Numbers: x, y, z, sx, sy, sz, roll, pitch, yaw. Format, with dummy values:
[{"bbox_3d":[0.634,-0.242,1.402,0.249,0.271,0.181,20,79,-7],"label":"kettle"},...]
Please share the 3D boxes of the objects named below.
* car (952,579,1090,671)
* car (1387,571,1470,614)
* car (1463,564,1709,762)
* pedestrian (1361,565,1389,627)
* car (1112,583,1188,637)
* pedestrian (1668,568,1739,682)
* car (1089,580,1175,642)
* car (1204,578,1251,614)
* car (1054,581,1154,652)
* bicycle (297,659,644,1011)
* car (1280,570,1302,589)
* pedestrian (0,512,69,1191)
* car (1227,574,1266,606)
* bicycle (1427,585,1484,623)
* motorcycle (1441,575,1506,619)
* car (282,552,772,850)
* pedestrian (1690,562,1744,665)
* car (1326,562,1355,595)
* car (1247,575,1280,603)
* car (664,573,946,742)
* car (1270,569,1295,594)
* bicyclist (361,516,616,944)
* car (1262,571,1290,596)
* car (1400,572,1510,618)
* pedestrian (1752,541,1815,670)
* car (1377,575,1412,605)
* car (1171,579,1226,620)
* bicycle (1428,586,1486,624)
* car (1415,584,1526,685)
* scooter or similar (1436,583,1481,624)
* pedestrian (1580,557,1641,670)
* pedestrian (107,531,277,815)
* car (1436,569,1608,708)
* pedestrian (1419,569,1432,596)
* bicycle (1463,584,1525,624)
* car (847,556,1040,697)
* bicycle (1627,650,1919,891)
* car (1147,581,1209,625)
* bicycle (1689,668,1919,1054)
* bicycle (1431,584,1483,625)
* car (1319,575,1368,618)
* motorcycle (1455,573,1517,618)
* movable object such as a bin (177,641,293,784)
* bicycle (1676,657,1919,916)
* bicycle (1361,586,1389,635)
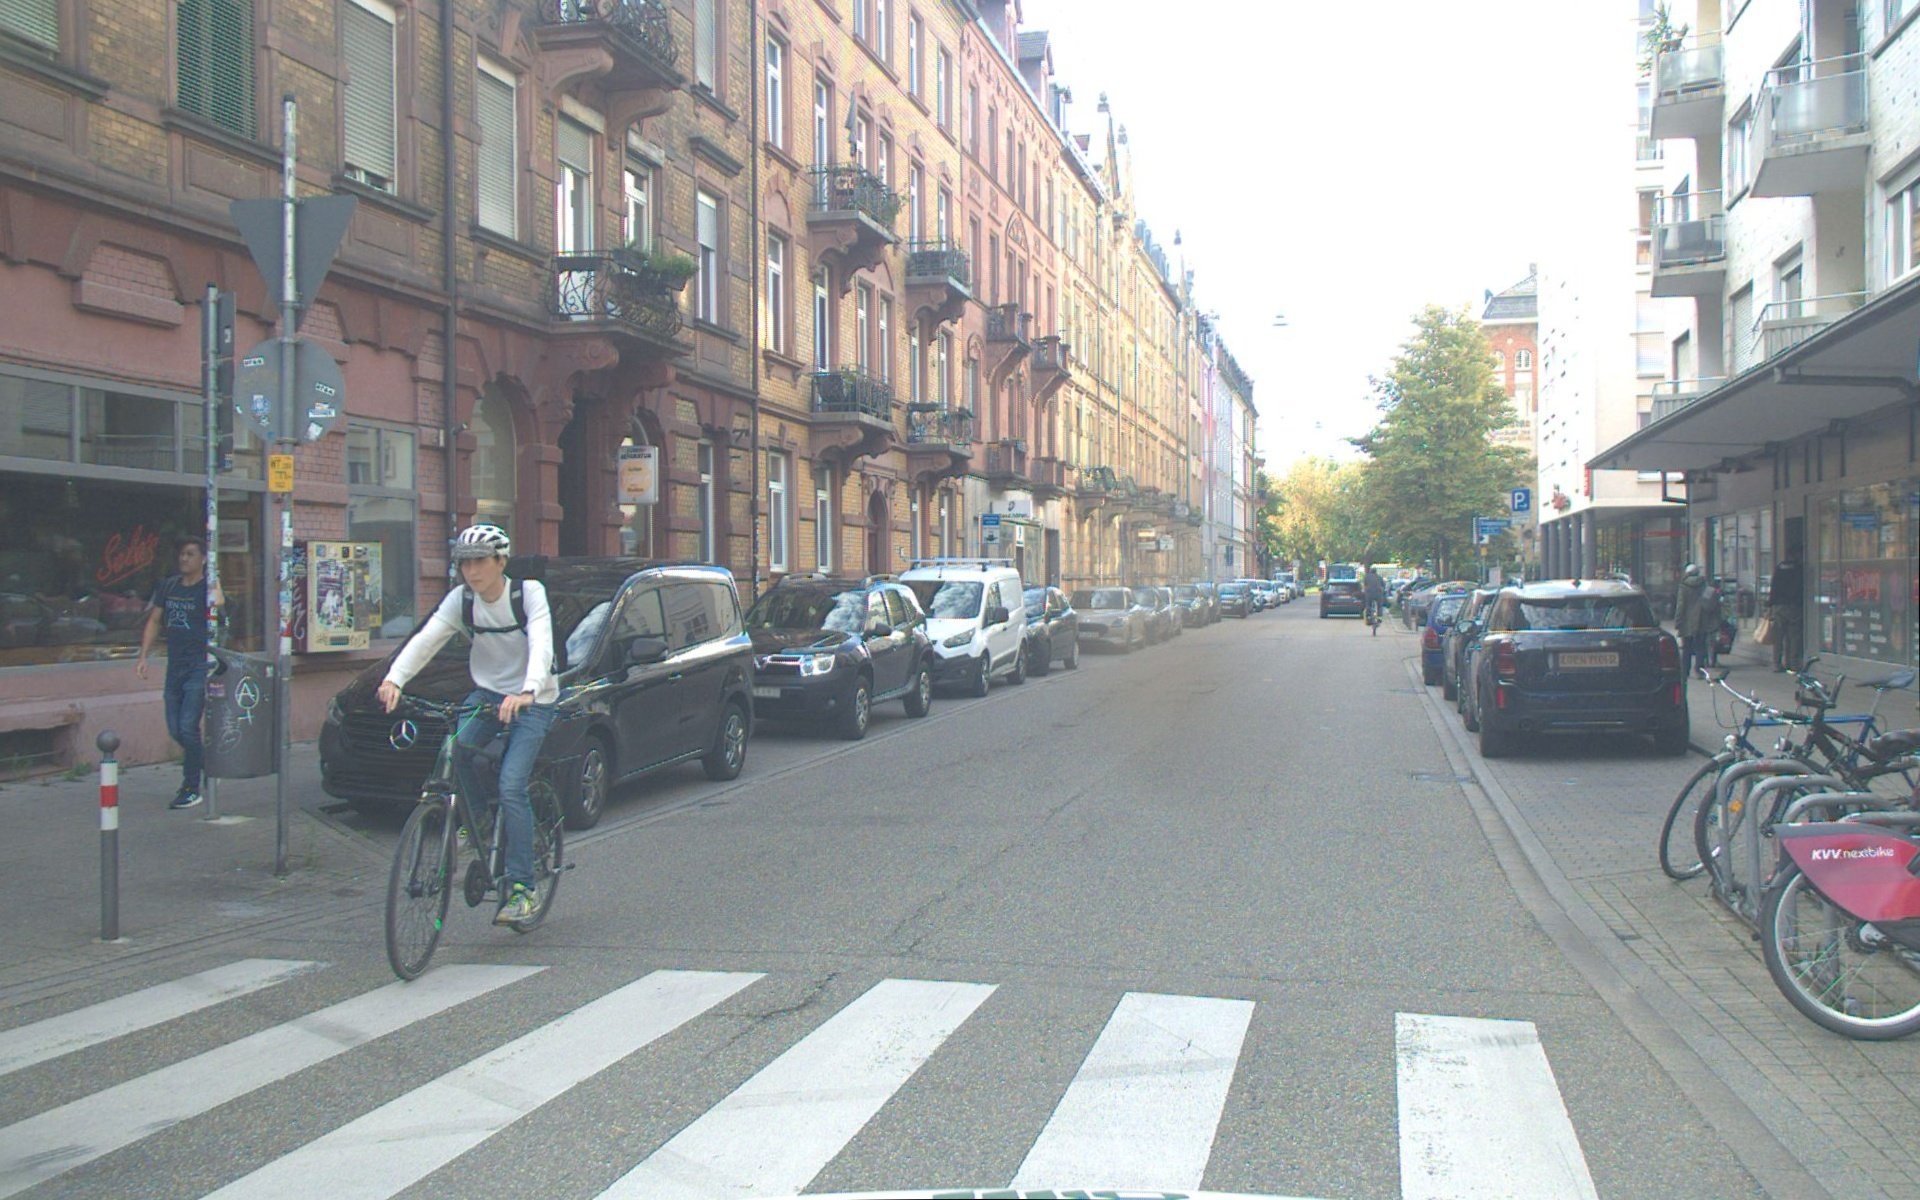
[{"bbox_3d":[1.166,0.425,29.609,1.704,1.509,3.986,1,0,13],"label":"car"},{"bbox_3d":[23.696,-0.387,83.552,3.903,1.712,1.740,-3,8,18],"label":"car"},{"bbox_3d":[5.959,0.515,16.153,1.754,1.633,3.927,-3,0,15],"label":"car"},{"bbox_3d":[11.385,-0.128,45.358,0.703,1.678,0.931,1,1,15],"label":"pedestrian"},{"bbox_3d":[5.484,0.251,47.443,1.654,1.410,3.870,1,1,14],"label":"car"},{"bbox_3d":[10.765,0.354,23.961,0.806,1.616,0.781,-1,0,16],"label":"pedestrian"},{"bbox_3d":[4.579,0.249,43.505,1.704,1.509,3.987,1,1,14],"label":"car"},{"bbox_3d":[11.672,-0.193,72.034,1.654,1.393,3.870,3,2,14],"label":"car"},{"bbox_3d":[3.403,0.346,38.566,1.704,1.509,3.987,1,1,14],"label":"car"},{"bbox_3d":[-2.012,0.904,7.153,0.686,1.242,2.118,-2,-1,5],"label":"bicycle"},{"bbox_3d":[28.261,-1.725,141.065,1.654,1.577,3.870,1,1,13],"label":"car"},{"bbox_3d":[-2.934,0.635,4.181,1.002,1.700,0.802,-1,0,-14],"label":"pedestrian"},{"bbox_3d":[14.612,-0.517,84.181,1.654,1.577,3.870,1,1,14],"label":"car"},{"bbox_3d":[16.515,0.126,55.173,1.756,1.179,0.500,-3,0,17],"label":"bicycle"},{"bbox_3d":[18.075,-0.102,58.200,2.105,1.459,0.765,-3,0,19],"label":"motorcycle"},{"bbox_3d":[-2.981,0.585,12.478,1.722,1.804,4.410,1,1,13],"label":"car"},{"bbox_3d":[12.222,0.218,26.723,0.630,1.616,0.781,-2,0,16],"label":"pedestrian"},{"bbox_3d":[24.581,-1.381,106.823,1.744,2.055,3.891,1,1,13],"label":"car"},{"bbox_3d":[17.620,-0.669,95.962,1.654,1.577,3.870,1,1,13],"label":"car"},{"bbox_3d":[-1.585,0.539,18.536,1.951,1.666,4.149,0,1,13],"label":"car"},{"bbox_3d":[24.600,-1.430,126.152,1.654,1.853,3.870,1,1,13],"label":"car"},{"bbox_3d":[-2.017,0.533,7.211,0.686,1.707,1.113,-2,-1,5],"label":"bicyclist"},{"bbox_3d":[21.109,-1.112,110.433,1.654,1.577,3.870,1,1,13],"label":"car"},{"bbox_3d":[18.949,-0.175,63.412,3.681,1.573,1.731,-2,-1,4],"label":"car"},{"bbox_3d":[12.274,0.077,24.654,0.697,1.892,0.640,0,0,43],"label":"pedestrian"},{"bbox_3d":[25.226,-0.574,96.119,1.889,1.666,4.004,1,1,14],"label":"car"},{"bbox_3d":[8.997,-0.042,62.164,1.654,1.462,3.870,1,1,14],"label":"car"},{"bbox_3d":[16.084,0.158,53.550,1.728,1.118,0.412,-3,0,17],"label":"bicycle"},{"bbox_3d":[8.301,0.513,27.142,1.561,1.464,4.033,-1,1,15],"label":"car"},{"bbox_3d":[14.830,0.108,49.209,0.376,1.167,1.190,-4,1,-44],"label":"scooter or similar"},{"bbox_3d":[10.535,0.205,26.803,0.599,1.756,1.127,-3,0,8],"label":"pedestrian"},{"bbox_3d":[-5.317,0.475,11.484,0.662,1.872,0.858,2,1,12],"label":"pedestrian"},{"bbox_3d":[7.159,0.440,21.393,1.652,1.604,3.906,-1,0,12],"label":"car"},{"bbox_3d":[38.555,-1.454,136.894,0.974,2.269,0.899,1,1,15],"label":"pedestrian"},{"bbox_3d":[16.184,0.128,50.160,1.728,1.106,0.650,-3,0,16],"label":"bicycle"},{"bbox_3d":[-0.129,0.312,24.631,1.879,1.904,4.441,0,1,13],"label":"car"},{"bbox_3d":[4.376,0.837,8.334,1.750,1.089,0.587,-3,1,4],"label":"bicycle"},{"bbox_3d":[7.450,0.075,56.221,1.654,1.410,3.870,1,1,14],"label":"car"},{"bbox_3d":[3.554,0.820,5.536,1.842,1.145,0.908,-3,0,12],"label":"bicycle"},{"bbox_3d":[15.361,0.138,51.136,1.463,1.166,0.412,-3,0,9],"label":"bicycle"},{"bbox_3d":[16.021,-0.162,69.028,1.923,1.771,4.044,0,1,14],"label":"car"},{"bbox_3d":[19.390,-0.177,60.953,2.105,1.557,0.686,-3,0,19],"label":"motorcycle"},{"bbox_3d":[-3.937,0.602,8.999,0.374,0.726,0.476,1,1,10],"label":"movable object such as a bin"},{"bbox_3d":[4.357,0.839,7.704,1.750,1.089,0.569,-3,1,4],"label":"bicycle"},{"bbox_3d":[11.339,0.272,45.212,0.703,1.296,1.885,1,1,15],"label":"bicycle"}]
